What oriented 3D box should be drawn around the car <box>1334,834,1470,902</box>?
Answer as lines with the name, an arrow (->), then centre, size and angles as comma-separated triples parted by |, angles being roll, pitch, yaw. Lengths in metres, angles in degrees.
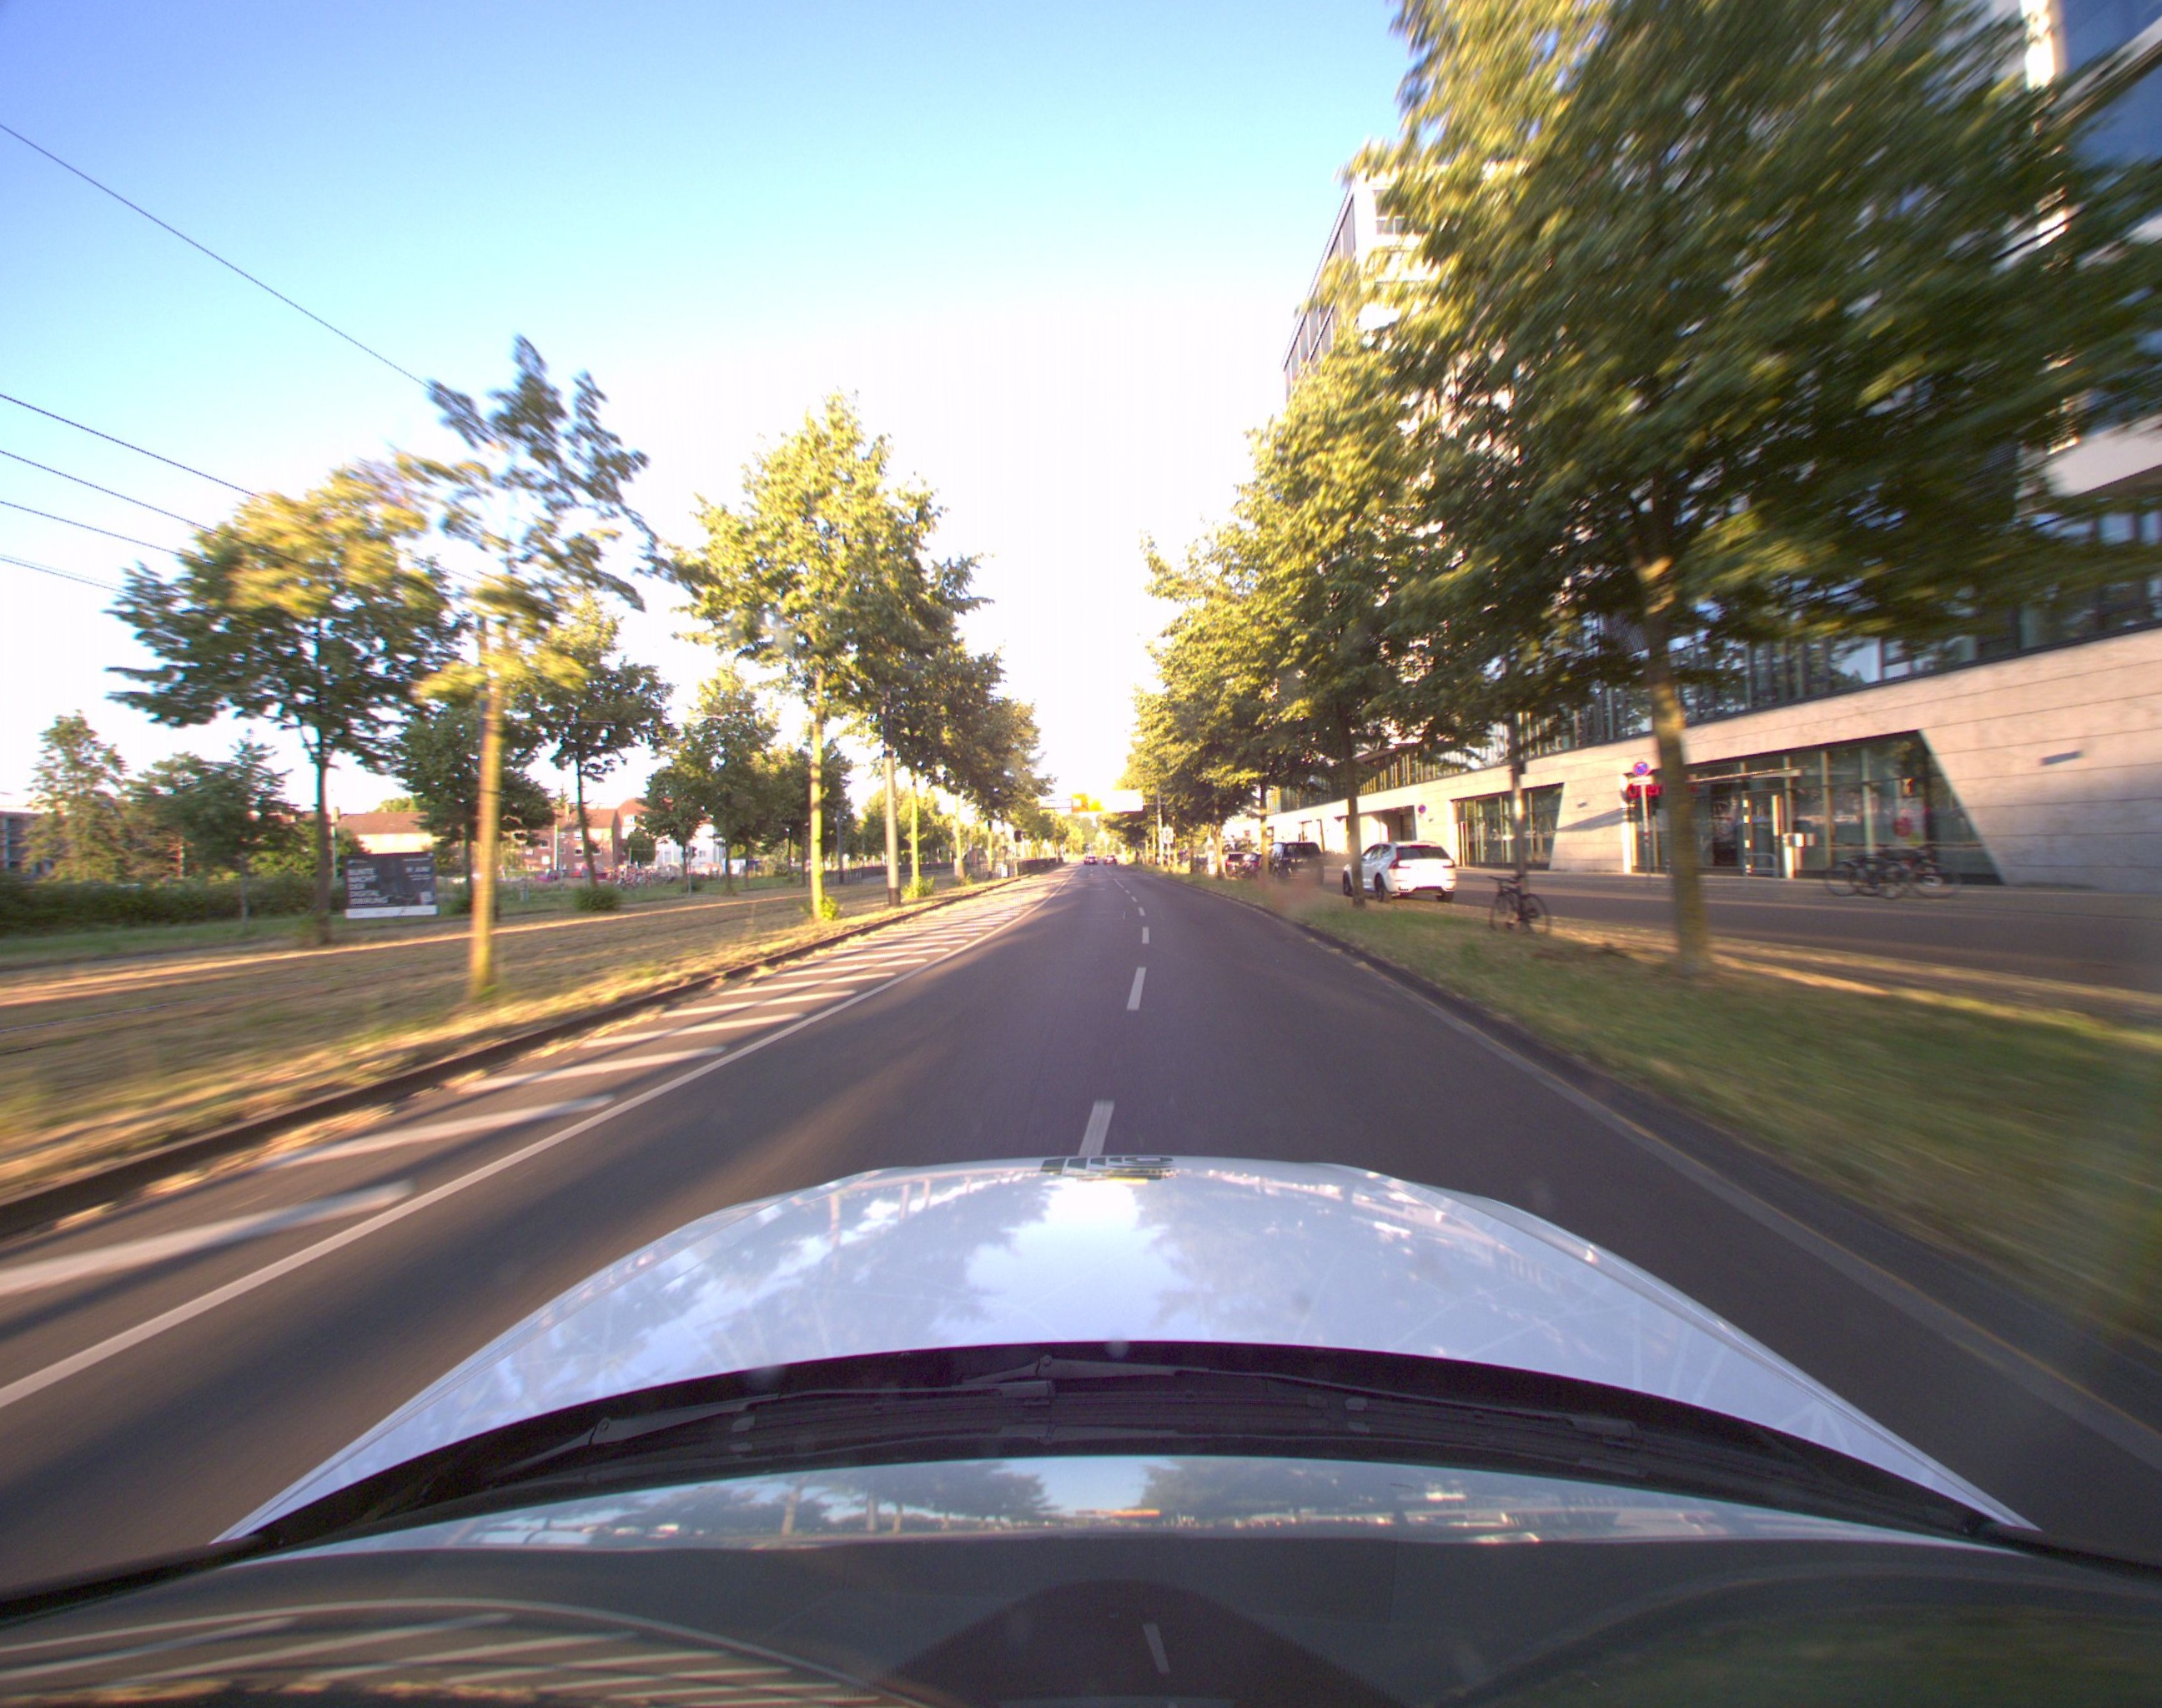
car -> 8.887, 0.351, 23.079 | 1.986, 1.642, 4.880 | -2, 0, 1

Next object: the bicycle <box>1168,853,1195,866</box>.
bicycle -> 8.331, 0.461, 67.468 | 2.139, 1.054, 0.524 | 1, 0, -6

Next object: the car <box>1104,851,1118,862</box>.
car -> 4.421, 0.375, 119.192 | 1.906, 1.486, 3.999 | -2, 0, 0

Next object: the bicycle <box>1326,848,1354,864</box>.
bicycle -> 18.595, 0.153, 58.427 | 1.824, 1.057, 0.404 | -2, 0, 1

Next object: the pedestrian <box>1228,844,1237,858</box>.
pedestrian -> 18.383, -0.374, 98.758 | 0.708, 1.737, 0.683 | -2, 0, -30

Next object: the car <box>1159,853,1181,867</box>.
car -> 9.592, 0.654, 87.988 | 1.772, 1.472, 4.286 | -2, 0, -1

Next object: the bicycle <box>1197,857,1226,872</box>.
bicycle -> 9.128, 0.730, 57.196 | 1.935, 1.054, 0.545 | 1, 0, 0

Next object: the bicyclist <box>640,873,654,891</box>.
bicyclist -> -35.205, 2.252, 66.089 | 0.617, 1.456, 0.937 | -2, 0, -1

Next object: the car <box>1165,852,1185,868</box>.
car -> 9.369, 0.619, 80.997 | 1.569, 1.472, 3.882 | -2, 0, 1

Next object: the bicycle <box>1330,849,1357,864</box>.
bicycle -> 18.291, 0.189, 56.681 | 1.737, 0.953, 0.404 | -2, 0, 1

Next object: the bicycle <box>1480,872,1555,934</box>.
bicycle -> 6.522, 0.707, 12.235 | 0.314, 0.823, 1.553 | -2, 0, 2

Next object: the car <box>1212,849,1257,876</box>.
car -> 8.981, 0.493, 48.074 | 1.862, 1.411, 4.647 | -2, 0, 2

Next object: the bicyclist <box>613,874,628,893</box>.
bicyclist -> -35.965, 2.280, 63.637 | 0.617, 1.421, 0.937 | -2, 0, -1

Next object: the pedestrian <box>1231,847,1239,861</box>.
pedestrian -> 19.538, 0.006, 103.356 | 0.636, 1.718, 0.695 | -2, 0, -19

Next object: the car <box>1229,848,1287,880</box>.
car -> 8.924, 0.492, 41.445 | 1.804, 1.471, 4.662 | -2, 0, -1

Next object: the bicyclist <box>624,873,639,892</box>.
bicyclist -> -36.196, 2.273, 65.610 | 0.617, 1.456, 0.937 | -2, 0, -1

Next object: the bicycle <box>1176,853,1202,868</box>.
bicycle -> 8.344, 0.496, 62.693 | 1.940, 1.054, 0.413 | 1, 0, -7

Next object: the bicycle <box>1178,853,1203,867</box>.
bicycle -> 8.632, 0.499, 64.311 | 1.937, 1.054, 0.404 | 1, 0, -3

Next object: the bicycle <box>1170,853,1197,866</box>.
bicycle -> 8.385, 0.455, 66.861 | 2.139, 1.054, 0.570 | 1, 0, -6

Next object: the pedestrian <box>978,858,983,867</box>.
pedestrian -> -15.237, 1.322, 123.483 | 0.613, 1.319, 0.744 | -2, 0, -3

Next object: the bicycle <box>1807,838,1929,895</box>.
bicycle -> 15.474, 0.232, 16.083 | 0.592, 1.039, 1.893 | -2, 0, 2

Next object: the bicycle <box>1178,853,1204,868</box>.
bicycle -> 8.412, 0.507, 62.193 | 1.940, 1.054, 0.347 | 1, 0, -7

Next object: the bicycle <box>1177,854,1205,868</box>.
bicycle -> 8.148, 0.518, 60.439 | 1.940, 1.054, 0.544 | 1, 0, -7

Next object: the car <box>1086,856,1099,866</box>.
car -> 1.748, 1.033, 125.534 | 1.906, 1.486, 3.999 | -2, 0, 0

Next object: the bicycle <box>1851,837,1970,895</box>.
bicycle -> 16.034, 0.225, 15.809 | 0.468, 1.039, 1.807 | -2, 0, 2

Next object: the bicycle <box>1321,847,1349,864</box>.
bicycle -> 18.546, 0.096, 59.428 | 1.824, 1.177, 0.446 | -2, 0, 1

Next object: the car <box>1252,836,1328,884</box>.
car -> 8.994, 0.259, 35.440 | 1.988, 1.852, 4.662 | -2, 0, -1

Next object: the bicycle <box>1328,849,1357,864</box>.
bicycle -> 18.344, 0.162, 57.122 | 1.824, 0.987, 0.404 | -2, 0, 1

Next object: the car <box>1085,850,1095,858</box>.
car -> 1.905, 0.017, 167.243 | 1.906, 1.486, 3.999 | -2, 0, 0

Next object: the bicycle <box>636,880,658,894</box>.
bicycle -> -35.188, 2.656, 66.038 | 0.617, 1.011, 2.082 | -2, 0, -1

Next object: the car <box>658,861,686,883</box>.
car -> -45.322, 1.976, 90.354 | 2.426, 2.224, 5.872 | -2, 0, -23

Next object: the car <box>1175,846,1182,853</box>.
car -> 26.021, -1.106, 217.287 | 1.983, 1.728, 4.008 | -2, 0, 7

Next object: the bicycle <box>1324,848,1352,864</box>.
bicycle -> 18.577, 0.153, 58.913 | 1.824, 1.047, 0.446 | -2, 0, 1

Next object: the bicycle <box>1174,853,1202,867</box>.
bicycle -> 8.573, 0.477, 65.467 | 2.139, 1.054, 0.570 | 1, 0, -6

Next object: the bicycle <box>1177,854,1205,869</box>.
bicycle -> 8.042, 0.526, 59.754 | 1.942, 1.054, 0.543 | 1, 0, -11

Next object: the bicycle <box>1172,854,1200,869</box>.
bicycle -> 7.568, 0.517, 58.921 | 1.944, 1.054, 0.542 | 1, 0, -15

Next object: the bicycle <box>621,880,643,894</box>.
bicycle -> -36.189, 2.663, 65.661 | 0.617, 1.011, 2.082 | -2, 0, -1

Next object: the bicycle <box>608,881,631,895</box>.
bicycle -> -35.944, 2.664, 63.446 | 0.617, 1.011, 2.082 | -2, 0, -1

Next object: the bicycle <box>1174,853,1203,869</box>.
bicycle -> 7.711, 0.493, 58.317 | 1.944, 1.054, 0.542 | 1, 0, -15

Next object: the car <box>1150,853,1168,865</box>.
car -> 9.864, 0.613, 103.079 | 1.752, 1.466, 4.156 | -2, 0, -2

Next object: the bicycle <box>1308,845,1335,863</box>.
bicycle -> 18.518, 0.000, 62.705 | 1.826, 1.357, 0.503 | -2, 0, -3

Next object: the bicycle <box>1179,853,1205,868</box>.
bicycle -> 8.421, 0.499, 61.838 | 1.940, 1.054, 0.314 | 1, 0, -7

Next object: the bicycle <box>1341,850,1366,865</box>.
bicycle -> 18.679, 0.242, 55.792 | 1.570, 0.987, 0.404 | -2, 0, 1

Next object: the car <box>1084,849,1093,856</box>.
car -> 1.734, -0.390, 183.567 | 1.906, 1.486, 3.999 | -2, 0, 0

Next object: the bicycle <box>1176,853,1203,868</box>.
bicycle -> 8.126, 0.510, 60.970 | 1.940, 1.054, 0.407 | 1, 0, -7

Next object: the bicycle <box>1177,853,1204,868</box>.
bicycle -> 8.273, 0.490, 61.423 | 1.940, 1.054, 0.407 | 1, 0, -7
